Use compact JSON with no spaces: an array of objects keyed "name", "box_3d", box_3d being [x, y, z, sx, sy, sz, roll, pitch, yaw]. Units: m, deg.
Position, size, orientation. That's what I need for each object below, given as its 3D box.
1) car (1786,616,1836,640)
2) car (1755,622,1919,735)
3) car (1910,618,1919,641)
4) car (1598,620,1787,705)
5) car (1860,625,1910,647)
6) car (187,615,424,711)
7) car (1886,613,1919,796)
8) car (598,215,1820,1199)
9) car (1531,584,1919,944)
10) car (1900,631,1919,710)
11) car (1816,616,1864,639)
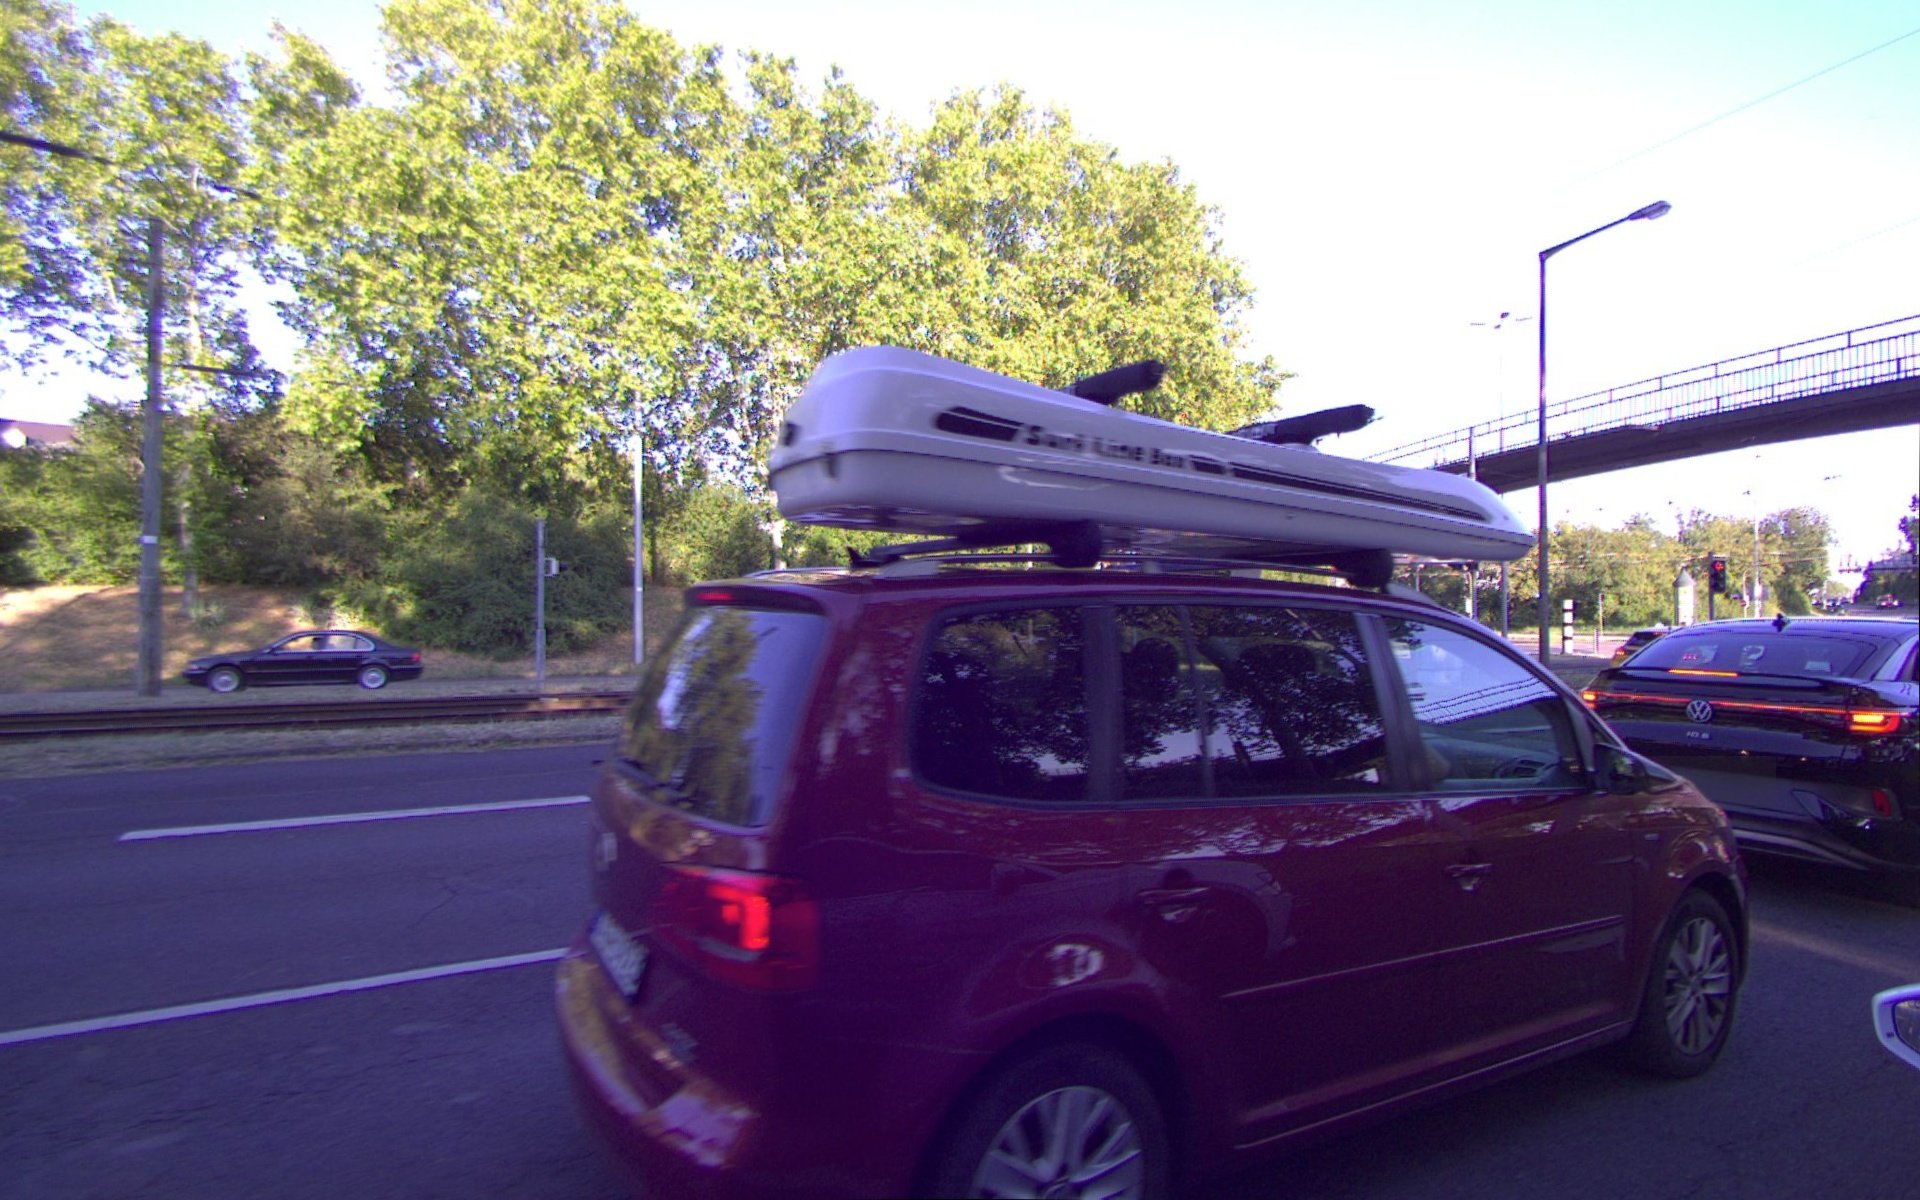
[{"name":"car","box_3d":[65.938,2.152,77.804,3.955,1.795,1.869,1,0,-32]},{"name":"car","box_3d":[14.555,1.175,15.910,4.141,1.585,1.655,1,-3,-30]},{"name":"car","box_3d":[76.239,2.301,78.546,3.955,1.795,1.869,1,0,-32]},{"name":"car","box_3d":[15.055,1.237,20.619,3.953,1.585,1.655,1,-3,-30]},{"name":"car","box_3d":[69.933,2.725,75.921,3.633,1.596,1.869,1,0,-32]},{"name":"car","box_3d":[-15.105,1.409,23.429,4.464,2.040,1.909,1,-3,-33]},{"name":"car","box_3d":[11.324,0.995,10.131,3.953,1.772,1.784,1,-3,-30]},{"name":"car","box_3d":[0.977,0.475,3.461,3.953,2.132,1.784,1,-3,-31]},{"name":"car","box_3d":[5.989,0.876,6.815,4.191,1.772,1.784,1,-3,-30]},{"name":"car","box_3d":[19.983,1.330,19.140,4.356,1.451,1.735,1,0,-28]},{"name":"car","box_3d":[71.734,2.246,81.840,3.955,1.795,1.869,1,0,-32]}]
